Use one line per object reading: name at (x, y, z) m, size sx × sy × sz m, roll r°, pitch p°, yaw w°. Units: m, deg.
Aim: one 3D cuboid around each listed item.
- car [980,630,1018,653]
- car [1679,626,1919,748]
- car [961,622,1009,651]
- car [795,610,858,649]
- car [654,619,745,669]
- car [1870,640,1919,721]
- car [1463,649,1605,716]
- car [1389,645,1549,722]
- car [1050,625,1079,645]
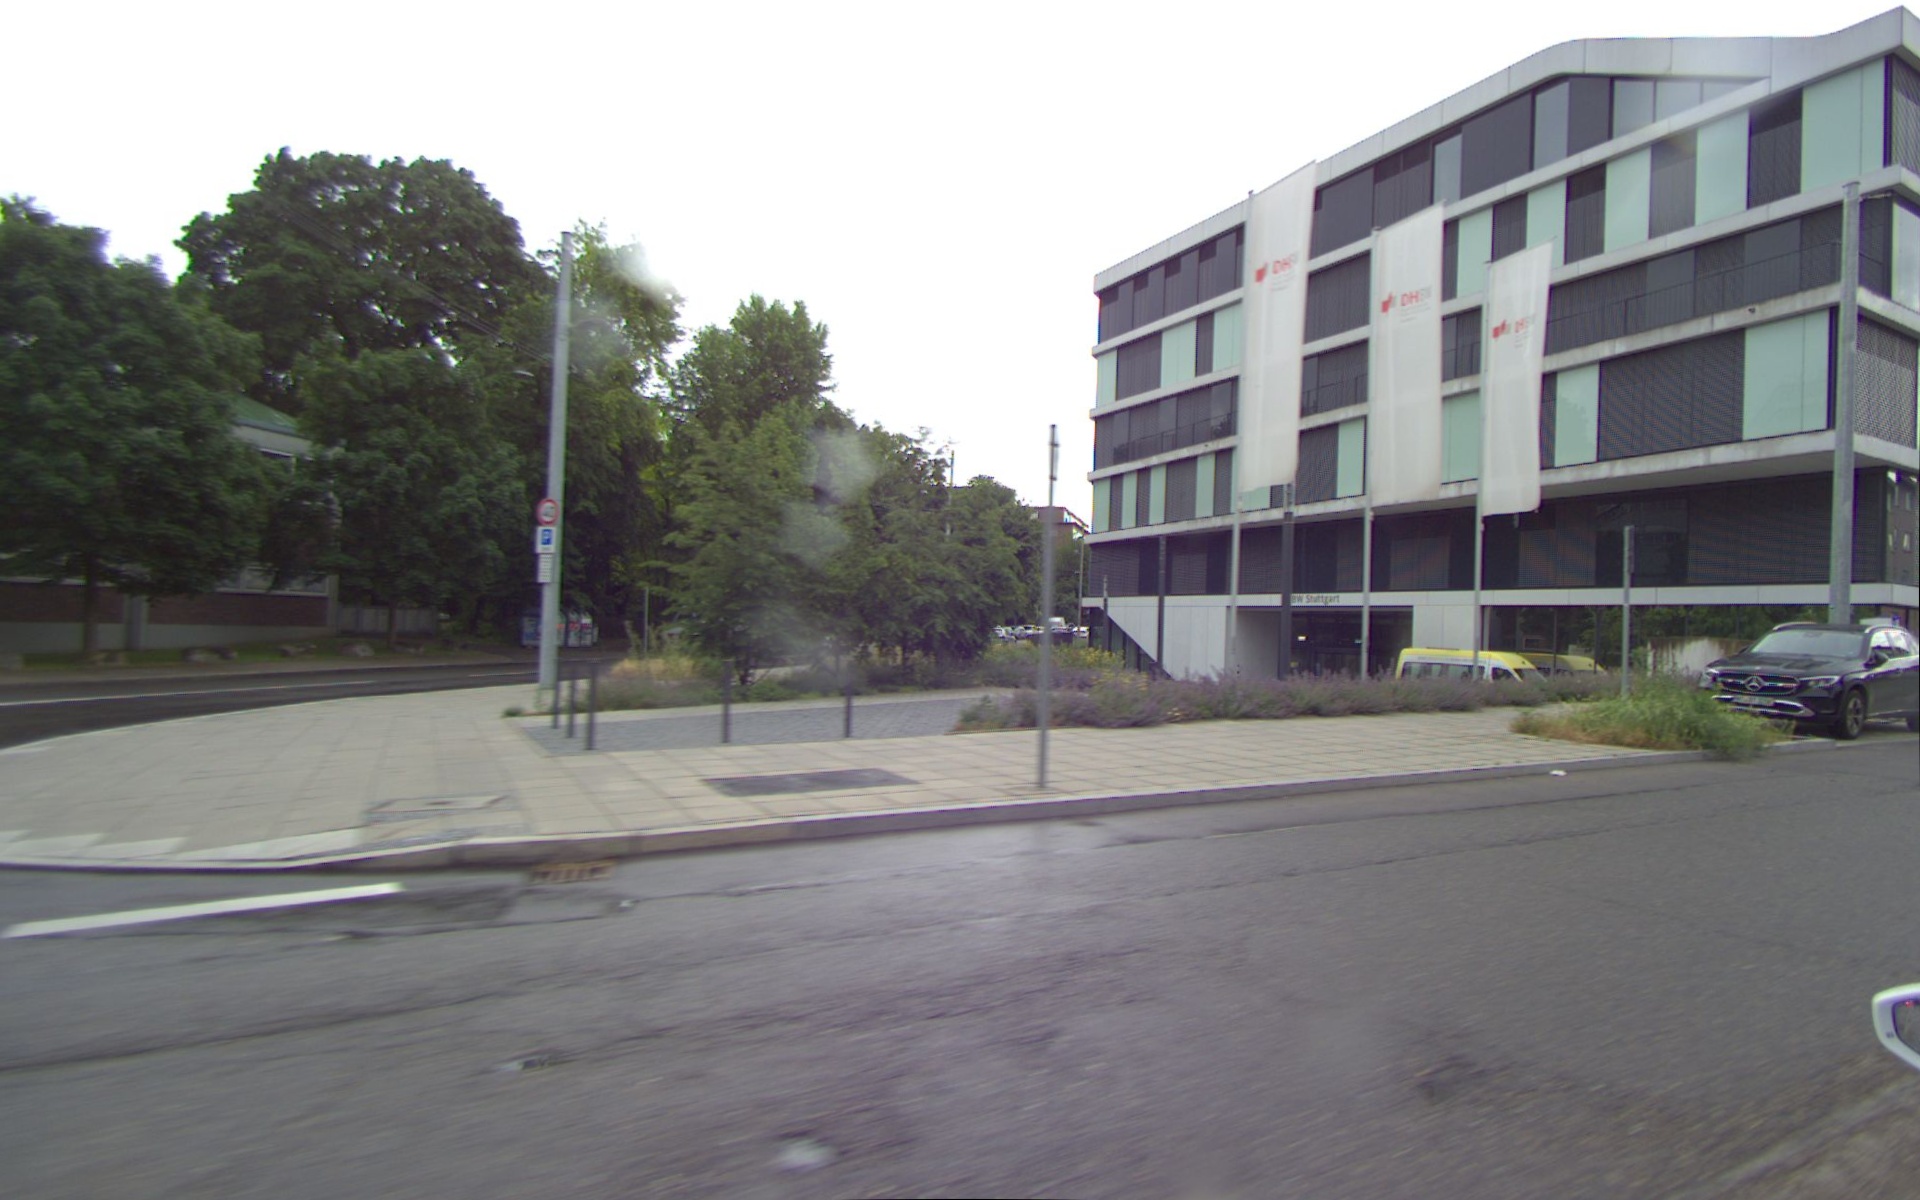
car at (2.517, 2.638, 64.256) m, size 1.452 × 1.258 × 3.400 m, roll 2°, pitch 0°, yaw 20°
car at (13.584, 1.274, 15.909) m, size 4.436 × 1.639 × 1.841 m, roll 1°, pitch 0°, yaw -29°
car at (1.558, 2.181, 60.703) m, size 1.771 × 1.609 × 3.678 m, roll 2°, pitch 0°, yaw 20°
car at (-7.804, 1.702, 59.192) m, size 2.126 × 2.125 × 4.840 m, roll 2°, pitch 0°, yaw 13°
car at (-11.823, 1.953, 45.907) m, size 2.035 × 2.070 × 4.280 m, roll 2°, pitch 0°, yaw 18°
car at (19.354, 1.514, 19.030) m, size 4.348 × 1.438 × 1.813 m, roll 1°, pitch 0°, yaw -29°
car at (20.865, 2.935, 36.694) m, size 1.578 × 2.059 × 4.324 m, roll 1°, pitch 0°, yaw -28°
car at (17.453, 2.792, 34.647) m, size 1.911 × 2.203 × 4.561 m, roll 1°, pitch 0°, yaw -34°
car at (8.225, 2.724, 78.665) m, size 1.413 × 1.514 × 3.639 m, roll 0°, pitch 0°, yaw 20°
